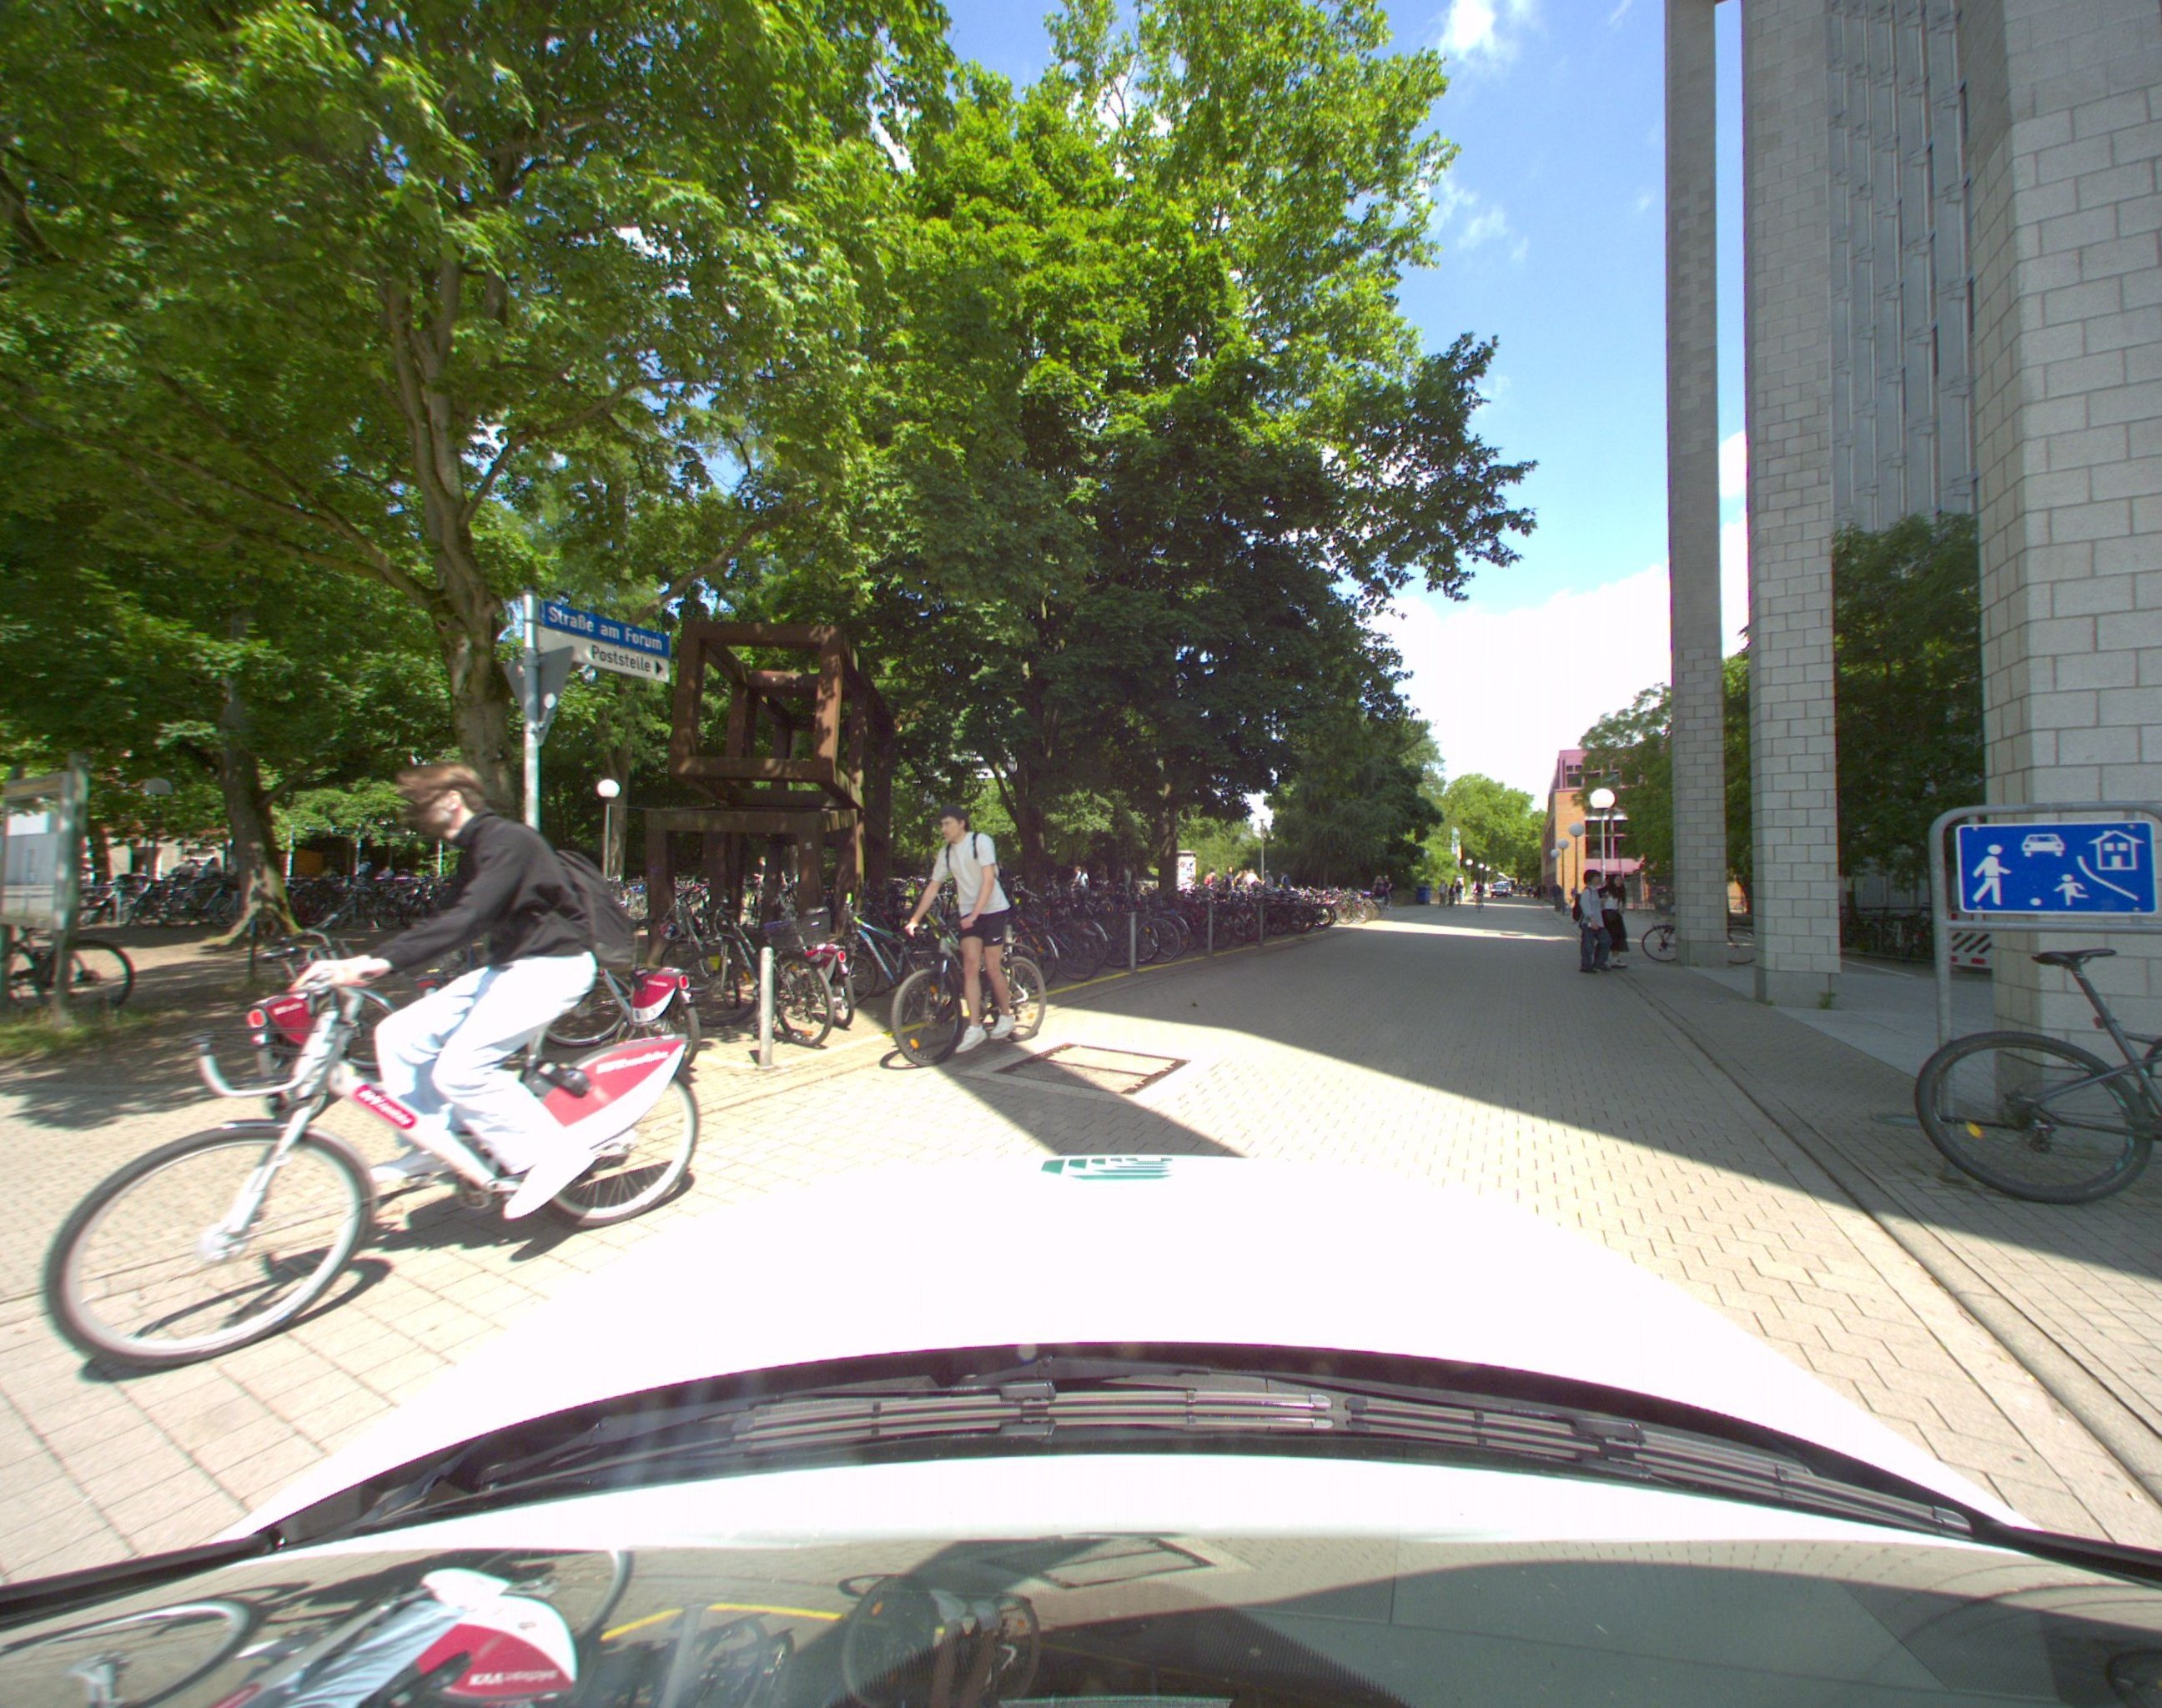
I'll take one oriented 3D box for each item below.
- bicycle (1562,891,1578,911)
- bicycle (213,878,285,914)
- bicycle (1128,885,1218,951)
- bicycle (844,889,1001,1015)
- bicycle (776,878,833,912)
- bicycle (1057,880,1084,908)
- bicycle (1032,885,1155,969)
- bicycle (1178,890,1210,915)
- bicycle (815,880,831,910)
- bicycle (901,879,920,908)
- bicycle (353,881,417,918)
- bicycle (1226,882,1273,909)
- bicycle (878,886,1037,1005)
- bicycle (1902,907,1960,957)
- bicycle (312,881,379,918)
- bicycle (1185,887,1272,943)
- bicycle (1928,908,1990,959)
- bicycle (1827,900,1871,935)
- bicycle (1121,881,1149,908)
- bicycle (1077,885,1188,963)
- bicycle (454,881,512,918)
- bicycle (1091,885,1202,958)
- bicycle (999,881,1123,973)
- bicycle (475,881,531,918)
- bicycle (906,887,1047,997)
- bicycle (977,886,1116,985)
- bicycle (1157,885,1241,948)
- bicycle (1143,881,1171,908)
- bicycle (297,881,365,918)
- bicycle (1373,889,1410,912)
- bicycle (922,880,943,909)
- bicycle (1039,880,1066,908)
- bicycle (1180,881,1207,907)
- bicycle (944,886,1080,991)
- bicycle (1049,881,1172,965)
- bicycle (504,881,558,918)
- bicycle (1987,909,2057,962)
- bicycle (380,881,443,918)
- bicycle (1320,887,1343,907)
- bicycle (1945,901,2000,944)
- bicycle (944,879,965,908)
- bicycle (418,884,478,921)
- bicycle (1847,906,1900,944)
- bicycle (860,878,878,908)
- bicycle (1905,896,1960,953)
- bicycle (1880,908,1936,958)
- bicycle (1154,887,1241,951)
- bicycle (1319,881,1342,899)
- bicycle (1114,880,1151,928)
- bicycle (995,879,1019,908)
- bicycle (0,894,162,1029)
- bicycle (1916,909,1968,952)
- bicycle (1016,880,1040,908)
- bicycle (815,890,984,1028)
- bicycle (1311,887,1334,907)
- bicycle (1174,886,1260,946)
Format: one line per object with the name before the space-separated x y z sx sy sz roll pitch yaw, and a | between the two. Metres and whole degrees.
bicycle | 28.793 2.750 47.988 0.701 1.093 1.759 0 -2 28
bicycle | -26.149 1.292 25.626 0.471 1.084 1.699 1 -2 0
bicycle | 1.667 1.149 14.929 1.609 1.108 0.566 0 -3 43
bicycle | -1.585 0.917 8.057 1.609 1.108 0.500 0 -2 34
bicycle | -9.277 1.383 27.398 1.695 1.084 0.602 2 -2 -11
bicycle | -0.464 1.685 34.333 0.518 1.110 1.764 2 -2 -22
bicycle | 0.174 1.010 11.627 1.610 1.108 0.648 0 -2 24
bicycle | 5.364 2.316 38.770 0.476 1.110 1.760 2 -2 -32
bicycle | -9.820 1.546 30.994 0.517 1.110 1.766 2 -2 -19
bicycle | -6.734 1.539 32.130 0.517 1.110 1.766 2 -2 -19
bicycle | -21.453 1.387 25.137 0.471 1.084 1.699 1 -2 0
bicycle | 7.103 1.739 34.347 1.888 1.047 0.544 2 -2 16
bicycle | -1.314 0.906 8.555 1.609 1.108 0.633 0 -2 33
bicycle | 16.912 1.539 16.227 0.288 0.905 1.456 -1 -2 25
bicycle | -22.546 1.382 24.997 0.471 1.084 1.699 1 -2 0
bicycle | 3.108 1.264 17.204 1.718 1.108 0.500 0 -2 29
bicycle | 17.151 1.537 15.941 0.288 0.905 1.456 -1 -2 25
bicycle | 22.027 1.804 23.389 0.288 0.905 1.627 -1 -2 21
bicycle | 2.352 1.752 35.605 0.474 1.110 1.764 2 -2 -22
bicycle | 0.787 1.056 12.587 1.610 1.108 0.500 0 -2 24
bicycle | -18.363 1.382 25.042 0.471 1.084 1.699 1 -2 0
bicycle | 1.072 1.083 13.532 1.705 1.108 0.723 0 -2 39
bicycle | -0.285 0.952 10.998 1.609 1.151 0.500 0 -2 29
bicycle | -17.817 1.381 25.154 0.471 1.084 1.699 1 -2 0
bicycle | -1.191 0.939 9.140 1.609 1.108 0.509 0 -2 34
bicycle | -0.444 0.971 10.185 1.609 1.108 0.695 0 -2 34
bicycle | 2.280 1.188 15.909 1.609 1.144 0.500 0 -3 43
bicycle | 3.318 1.756 35.688 0.474 1.110 1.764 2 -2 -22
bicycle | -23.052 1.387 25.083 0.471 1.084 1.699 1 -2 0
bicycle | 16.017 2.388 42.000 1.838 1.110 0.472 1 -2 -10
bicycle | -5.933 1.592 32.478 0.517 1.110 1.766 2 -2 -19
bicycle | -1.198 1.635 33.848 0.518 1.110 1.764 2 -2 -22
bicycle | 4.949 1.757 36.011 0.474 1.110 1.767 2 -2 -17
bicycle | -0.827 0.953 9.569 1.609 1.108 0.500 0 -2 34
bicycle | 0.439 1.008 12.211 1.763 1.162 0.500 0 -2 24
bicycle | -17.019 1.386 25.226 0.471 1.084 1.699 1 -2 0
bicycle | 17.903 1.523 15.522 0.288 0.905 1.456 -1 -2 25
bicycle | -20.399 1.372 24.850 0.471 1.084 1.699 1 -2 0
bicycle | 14.000 2.384 45.565 0.473 1.047 1.693 3 -1 -12
bicycle | 20.308 1.544 18.576 0.288 0.905 1.456 -1 -2 25
bicycle | -5.127 1.584 32.912 0.517 1.110 1.766 2 -2 -19
bicycle | -19.356 1.458 24.941 0.471 1.084 1.699 1 -2 0
bicycle | 20.927 1.850 21.538 0.288 0.905 1.814 -1 -2 21
bicycle | -8.250 1.512 31.657 0.517 1.110 1.766 2 -2 -19
bicycle | 17.969 1.457 17.212 0.288 1.128 1.456 -1 -2 25
bicycle | 16.623 1.564 16.395 0.288 0.905 1.456 -1 -2 25
bicycle | 2.164 1.185 15.271 1.609 1.108 0.500 0 -3 43
bicycle | 14.973 2.179 48.832 1.708 1.047 0.468 4 -1 -40
bicycle | 1.353 1.313 21.788 0.574 1.200 1.693 2 -2 -10
bicycle | -3.027 1.590 33.167 0.517 1.110 1.766 2 -2 -19
bicycle | -9.284 0.948 7.545 1.817 1.108 0.395 0 -2 22
bicycle | 19.868 1.747 18.811 0.288 0.905 1.456 -1 -2 25
bicycle | -2.173 1.638 33.449 0.517 1.110 1.766 2 -2 -19
bicycle | -1.686 0.904 7.458 1.609 1.108 0.500 0 -2 34
bicycle | 13.420 2.399 45.326 0.473 1.047 1.692 2 -2 -12
bicycle | 2.716 1.227 16.418 0.578 1.108 1.720 3 -2 -42
